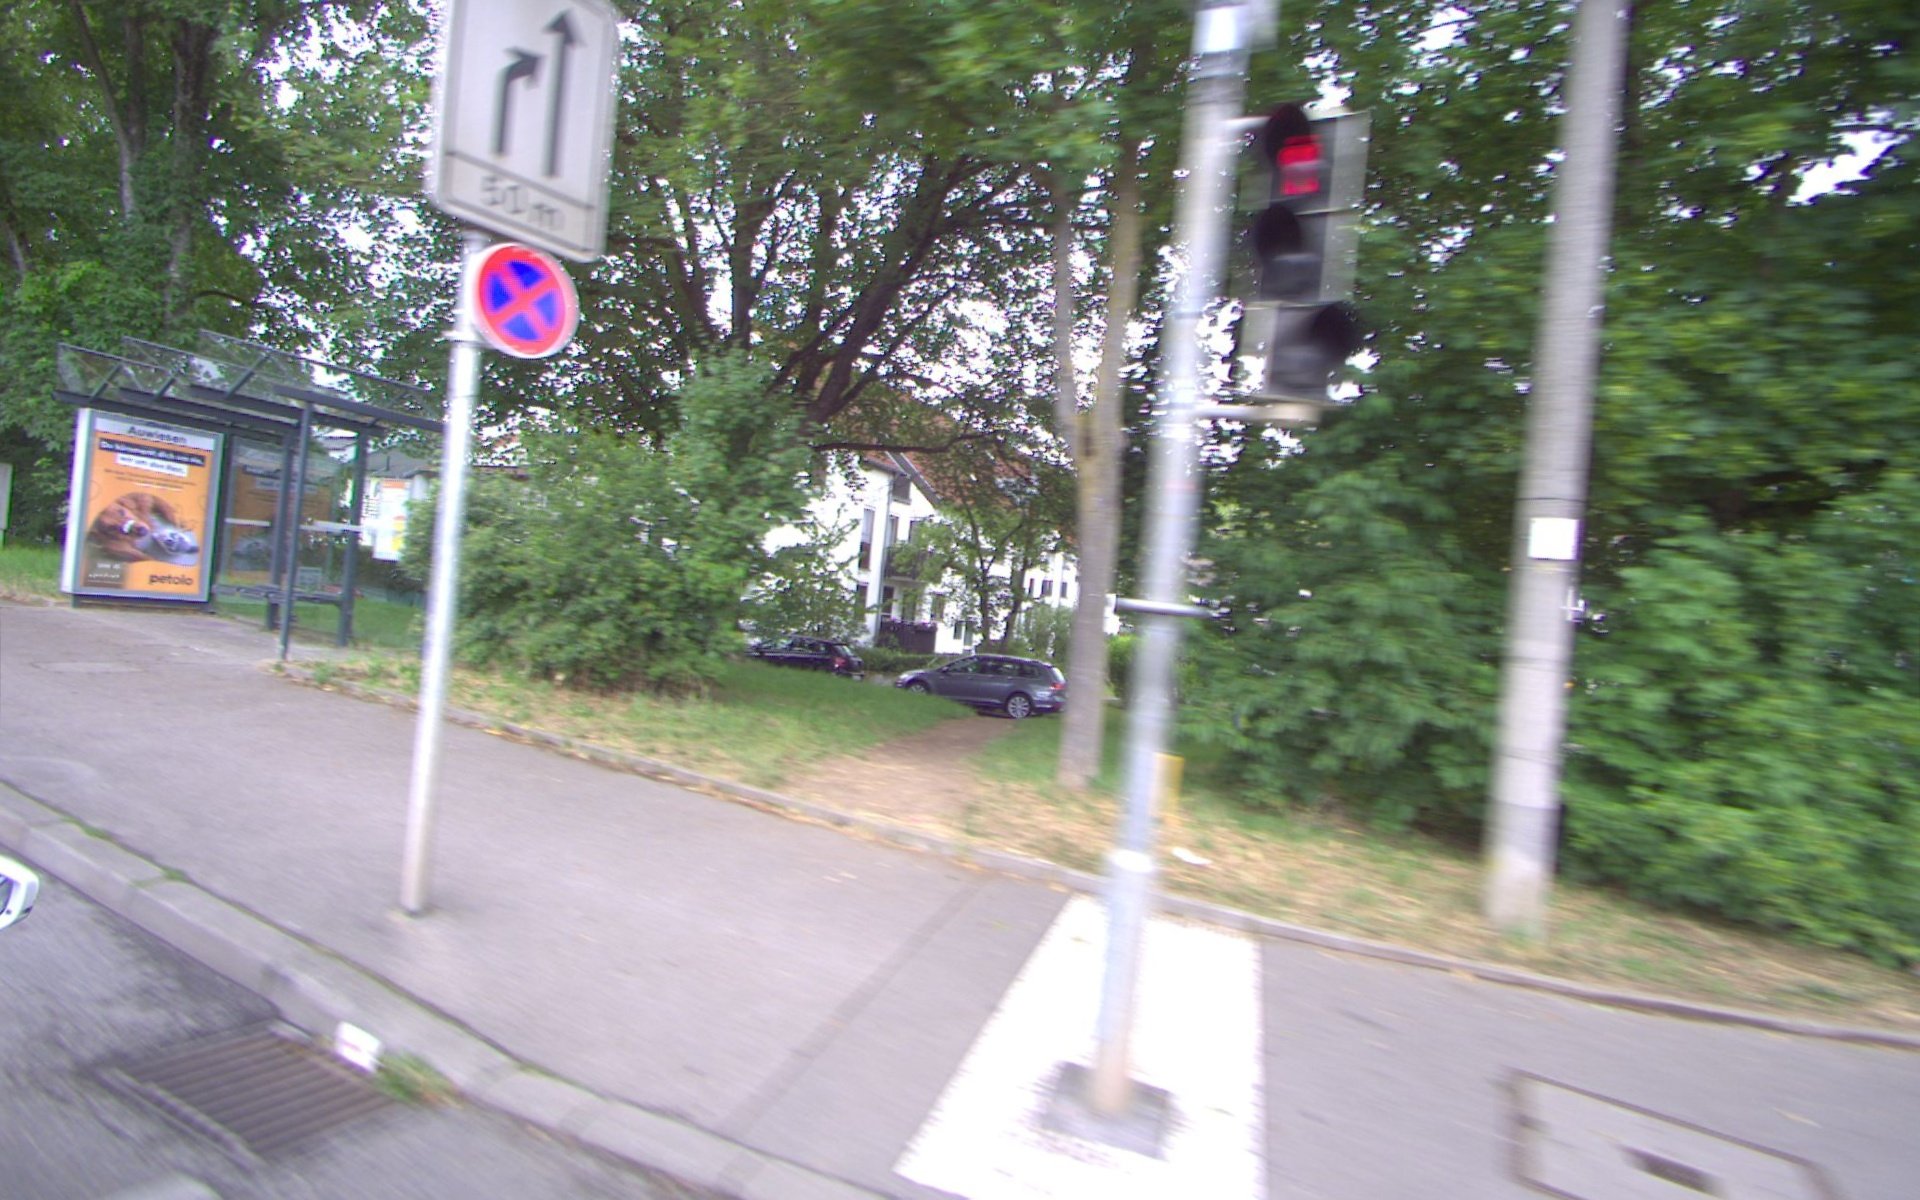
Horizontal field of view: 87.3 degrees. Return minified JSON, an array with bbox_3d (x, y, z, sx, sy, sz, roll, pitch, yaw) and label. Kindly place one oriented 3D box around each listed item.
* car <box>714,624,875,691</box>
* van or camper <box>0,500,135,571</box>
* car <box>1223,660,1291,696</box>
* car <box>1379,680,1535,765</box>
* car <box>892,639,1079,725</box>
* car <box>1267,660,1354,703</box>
[{"bbox_3d":[-4.385,1.530,26.757,3.785,1.260,1.629,7,-2,19],"label":"car"},{"bbox_3d":[-34.406,-2.499,38.055,5.732,2.036,2.187,7,-2,21],"label":"van or camper"},{"bbox_3d":[14.667,3.825,49.952,1.963,1.442,4.474,7,-3,1],"label":"car"},{"bbox_3d":[13.614,3.310,27.835,1.964,1.785,4.001,8,-3,-4],"label":"car"},{"bbox_3d":[0.643,2.010,24.902,4.209,1.478,1.667,7,-2,19],"label":"car"},{"bbox_3d":[14.775,3.405,42.727,1.963,1.442,4.473,7,-3,0],"label":"car"}]
